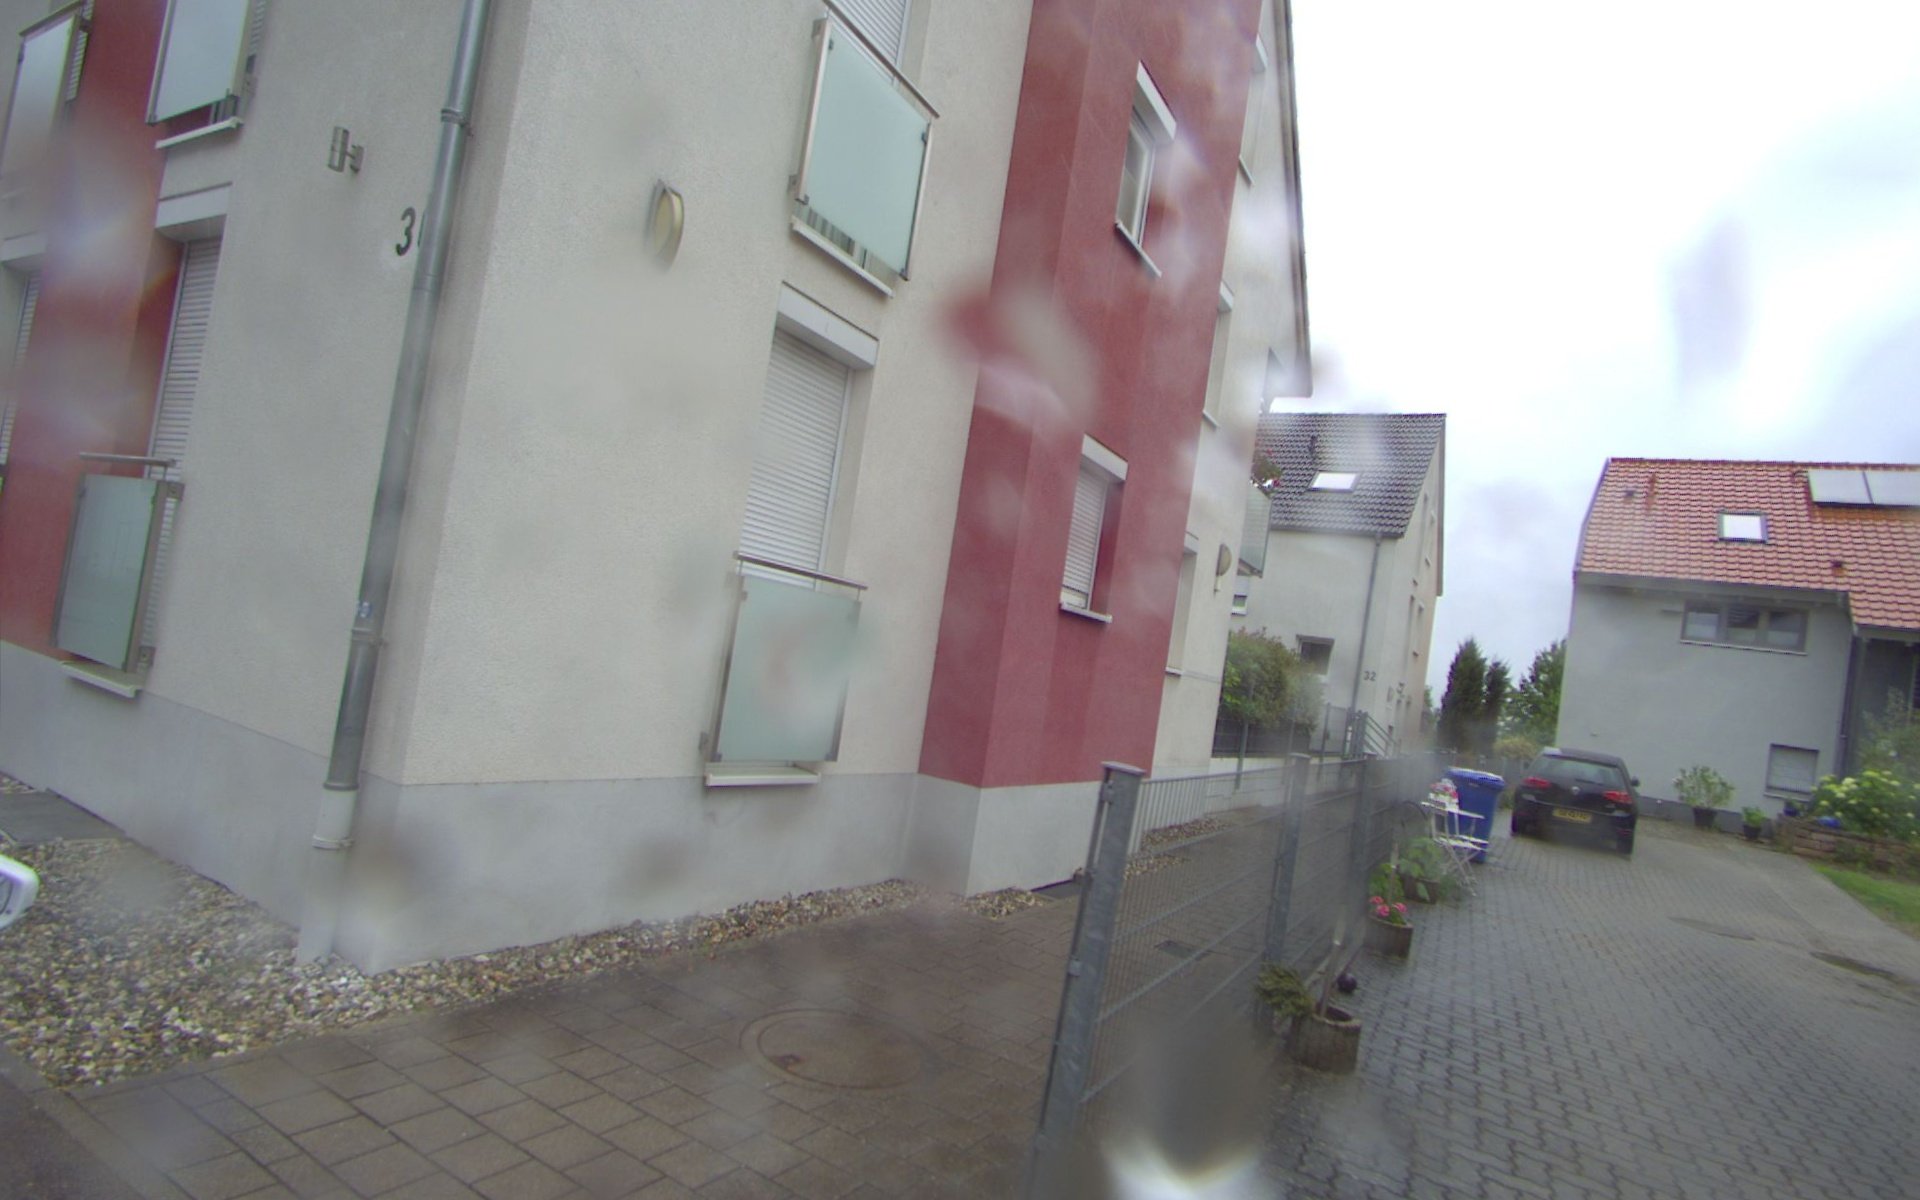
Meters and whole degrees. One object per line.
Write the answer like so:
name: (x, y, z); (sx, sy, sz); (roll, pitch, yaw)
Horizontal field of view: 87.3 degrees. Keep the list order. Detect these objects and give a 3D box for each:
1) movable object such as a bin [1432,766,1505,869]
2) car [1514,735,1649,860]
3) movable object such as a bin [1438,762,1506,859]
movable object such as a bin: (6.317, 2.677, 12.497); (0.676, 1.108, 0.536); (7, -2, 29)
car: (10.787, 3.288, 17.406); (1.657, 1.491, 3.990); (7, -1, 34)
movable object such as a bin: (6.751, 2.750, 13.254); (0.676, 1.108, 0.536); (7, -2, 29)
